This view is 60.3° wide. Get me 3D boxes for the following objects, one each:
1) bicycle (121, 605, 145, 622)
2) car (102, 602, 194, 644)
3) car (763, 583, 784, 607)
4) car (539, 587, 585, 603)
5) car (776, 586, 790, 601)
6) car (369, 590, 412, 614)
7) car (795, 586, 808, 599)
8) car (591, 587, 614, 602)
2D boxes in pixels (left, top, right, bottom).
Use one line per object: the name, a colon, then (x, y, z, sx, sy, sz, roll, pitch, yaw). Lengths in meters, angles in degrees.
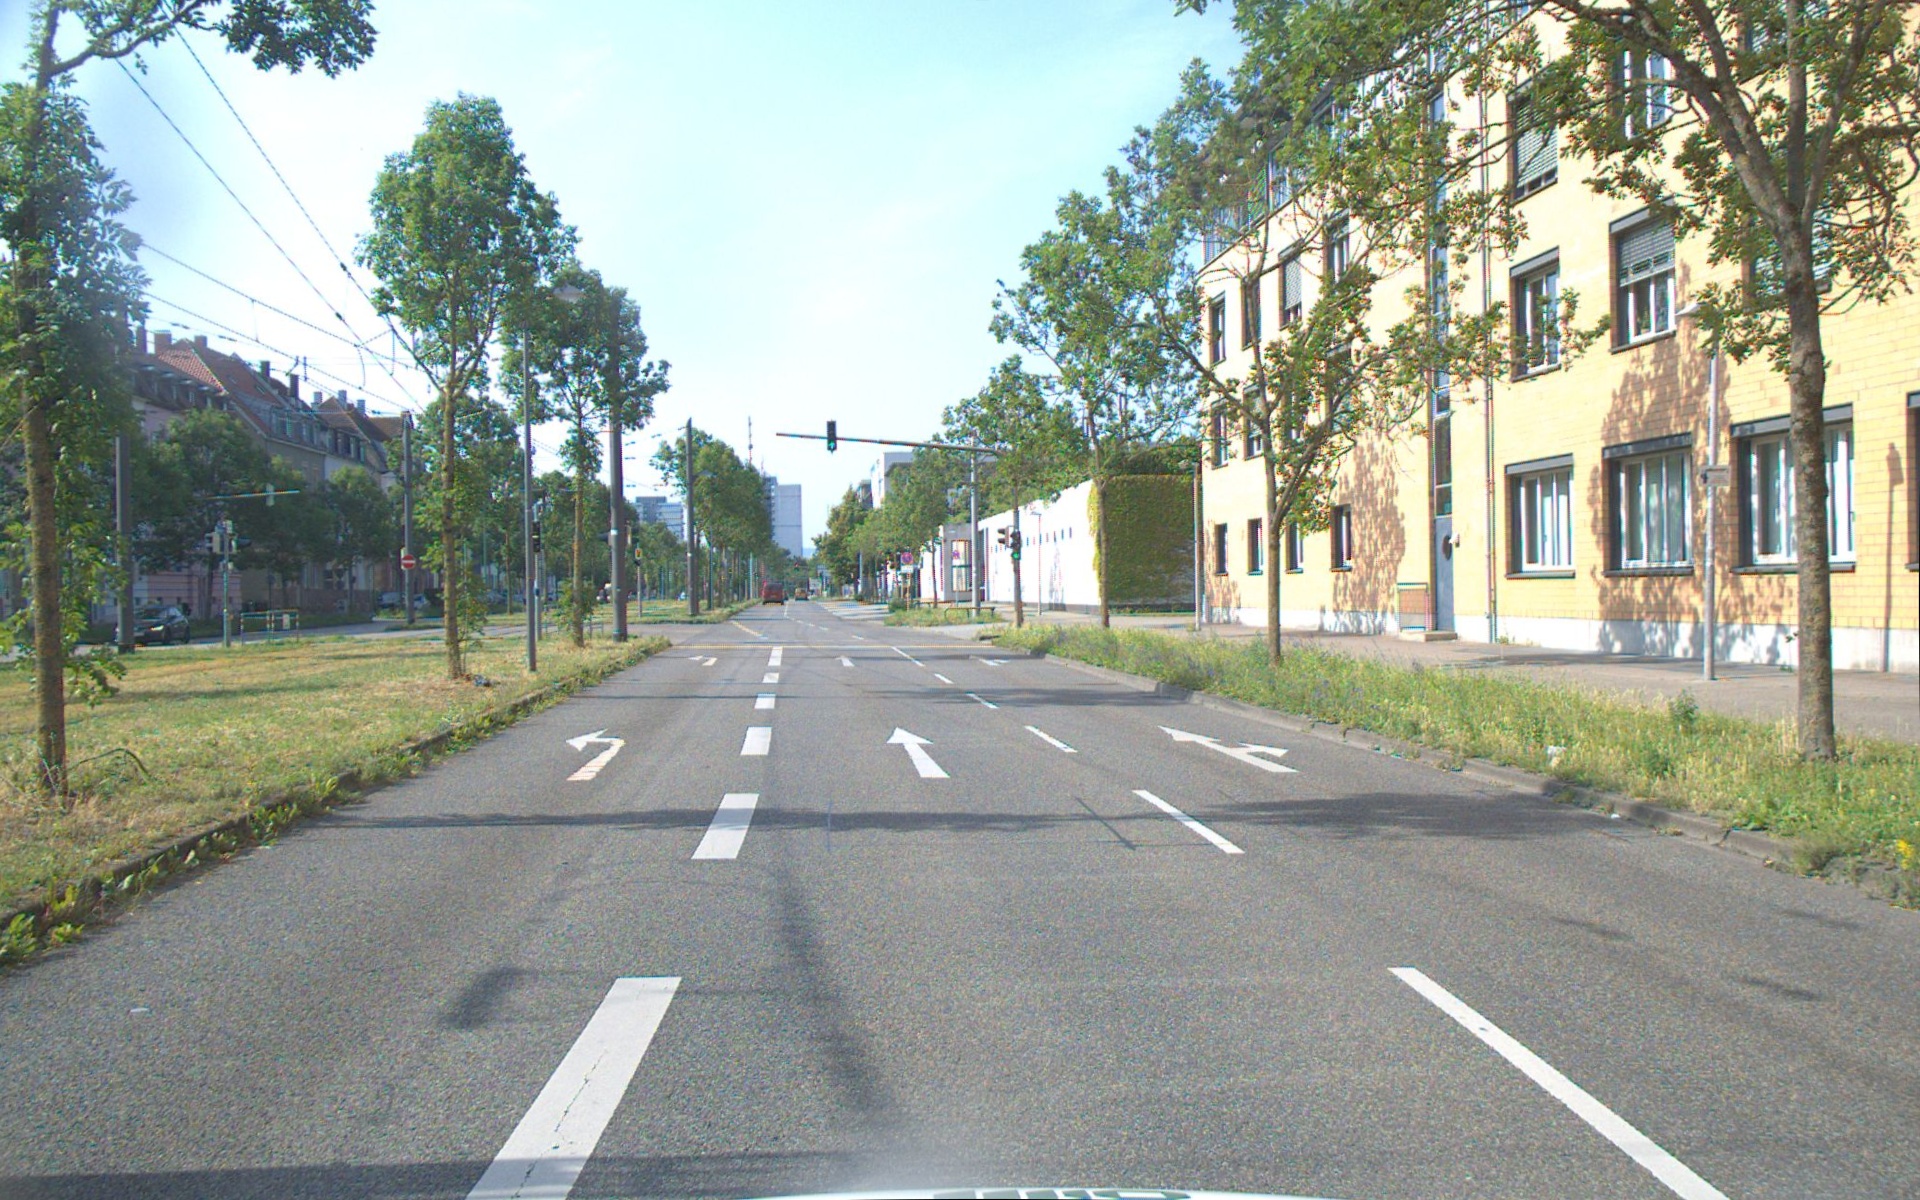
bicycle: (-39.699, 0.633, 79.419, 0.429, 0.803, 1.944, 1, 0, -7)
car: (-29.704, 0.825, 60.590, 1.778, 1.458, 3.920, 1, 0, -7)
car: (-16.309, -0.456, 144.782, 1.714, 2.049, 3.212, 1, 0, -5)
car: (-47.399, -0.608, 196.953, 5.208, 1.768, 1.997, 1, 0, 28)
car: (-23.713, -0.868, 221.370, 1.714, 2.049, 3.212, 1, 0, -5)
car: (-41.046, 0.107, 119.314, 1.956, 1.657, 4.767, 1, 0, -8)
car: (-21.591, -1.026, 225.810, 1.714, 1.679, 3.212, 1, 0, -5)
car: (-41.531, -0.612, 192.147, 1.925, 1.723, 4.295, 1, 0, -2)
